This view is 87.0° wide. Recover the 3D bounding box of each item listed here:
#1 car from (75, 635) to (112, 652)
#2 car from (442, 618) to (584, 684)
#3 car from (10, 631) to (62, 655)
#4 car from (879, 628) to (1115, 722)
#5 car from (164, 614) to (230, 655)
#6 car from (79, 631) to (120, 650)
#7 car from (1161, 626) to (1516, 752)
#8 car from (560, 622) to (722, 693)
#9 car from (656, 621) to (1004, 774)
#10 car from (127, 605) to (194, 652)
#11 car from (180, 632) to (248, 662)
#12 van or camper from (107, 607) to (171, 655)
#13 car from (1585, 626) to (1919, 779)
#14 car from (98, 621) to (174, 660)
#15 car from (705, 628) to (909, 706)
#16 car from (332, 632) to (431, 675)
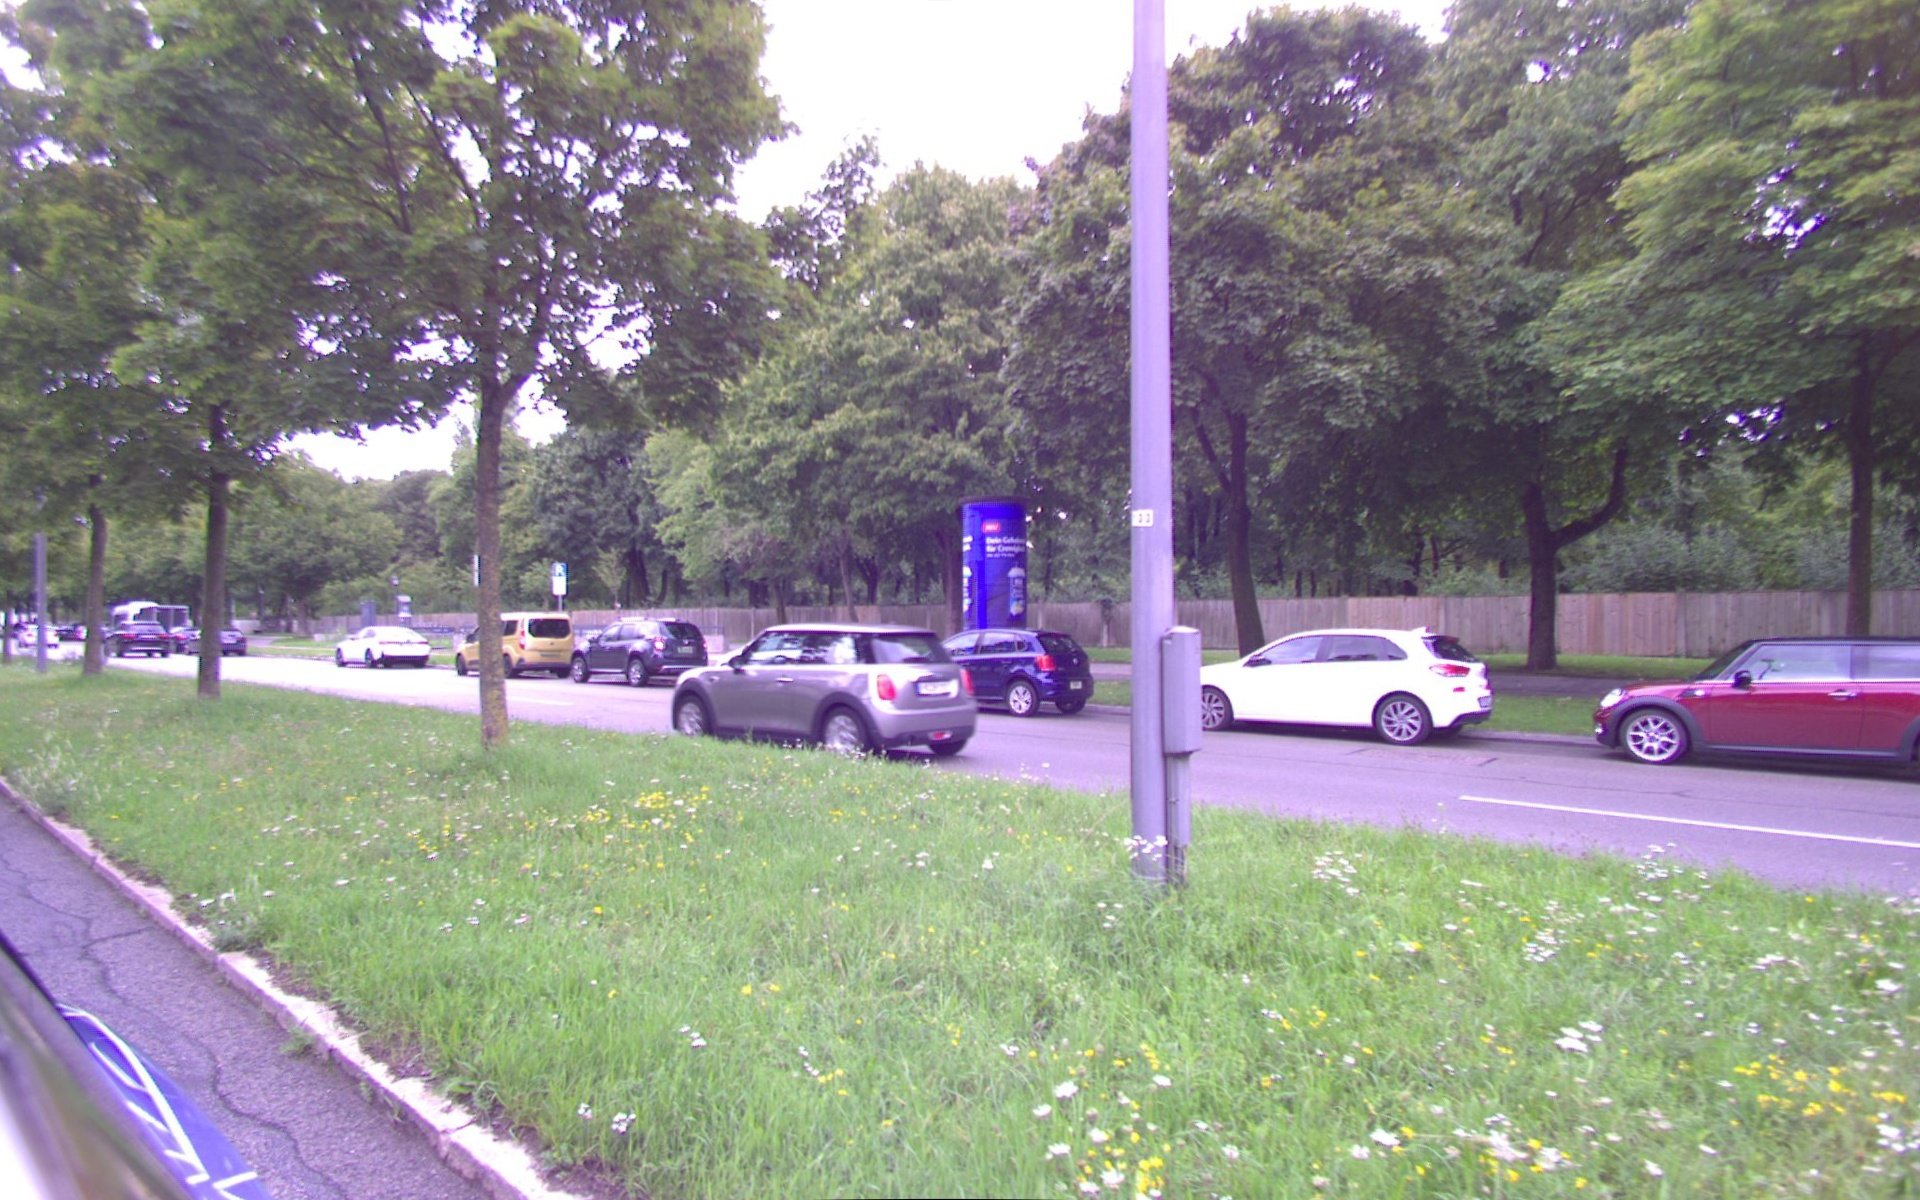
[{"bbox_3d":[-74.013,3.689,86.428,4.036,1.420,1.696,-1,-3,39],"label":"car"},{"bbox_3d":[-12.959,1.430,29.231,4.528,1.784,1.839,-1,-3,39],"label":"car"},{"bbox_3d":[-58.632,2.725,64.215,4.497,1.467,1.842,-1,-3,40],"label":"car"},{"bbox_3d":[0.597,1.250,17.675,3.783,1.457,1.804,-1,-4,39],"label":"car"},{"bbox_3d":[-40.299,1.802,53.456,3.997,2.029,1.973,-1,-1,40],"label":"car"},{"bbox_3d":[-67.715,3.158,79.589,4.036,1.420,1.696,-1,-3,39],"label":"car"},{"bbox_3d":[5.121,1.138,14.037,4.258,1.488,1.802,-2,-4,42],"label":"car"},{"bbox_3d":[-8.043,1.387,25.398,4.036,1.628,1.982,-1,-3,39],"label":"car"},{"bbox_3d":[-1.519,0.965,11.094,3.765,1.393,1.700,-2,-4,41],"label":"car"},{"bbox_3d":[-45.996,1.640,58.209,4.494,2.611,1.974,-1,-3,39],"label":"car"},{"bbox_3d":[-36.781,2.293,49.883,4.036,1.420,1.696,-1,-3,39],"label":"car"},{"bbox_3d":[-49.911,1.883,61.492,4.926,2.829,1.974,-1,-3,39],"label":"van or camper"},{"bbox_3d":[8.884,1.017,10.657,3.685,1.433,1.632,-2,-4,42],"label":"car"},{"bbox_3d":[-37.393,1.838,45.868,4.497,1.682,1.842,-1,-3,40],"label":"car"},{"bbox_3d":[-3.265,1.329,21.177,4.296,1.481,1.804,-1,-3,39],"label":"car"},{"bbox_3d":[-20.730,1.867,36.238,4.036,1.454,1.696,-1,-3,39],"label":"car"}]
